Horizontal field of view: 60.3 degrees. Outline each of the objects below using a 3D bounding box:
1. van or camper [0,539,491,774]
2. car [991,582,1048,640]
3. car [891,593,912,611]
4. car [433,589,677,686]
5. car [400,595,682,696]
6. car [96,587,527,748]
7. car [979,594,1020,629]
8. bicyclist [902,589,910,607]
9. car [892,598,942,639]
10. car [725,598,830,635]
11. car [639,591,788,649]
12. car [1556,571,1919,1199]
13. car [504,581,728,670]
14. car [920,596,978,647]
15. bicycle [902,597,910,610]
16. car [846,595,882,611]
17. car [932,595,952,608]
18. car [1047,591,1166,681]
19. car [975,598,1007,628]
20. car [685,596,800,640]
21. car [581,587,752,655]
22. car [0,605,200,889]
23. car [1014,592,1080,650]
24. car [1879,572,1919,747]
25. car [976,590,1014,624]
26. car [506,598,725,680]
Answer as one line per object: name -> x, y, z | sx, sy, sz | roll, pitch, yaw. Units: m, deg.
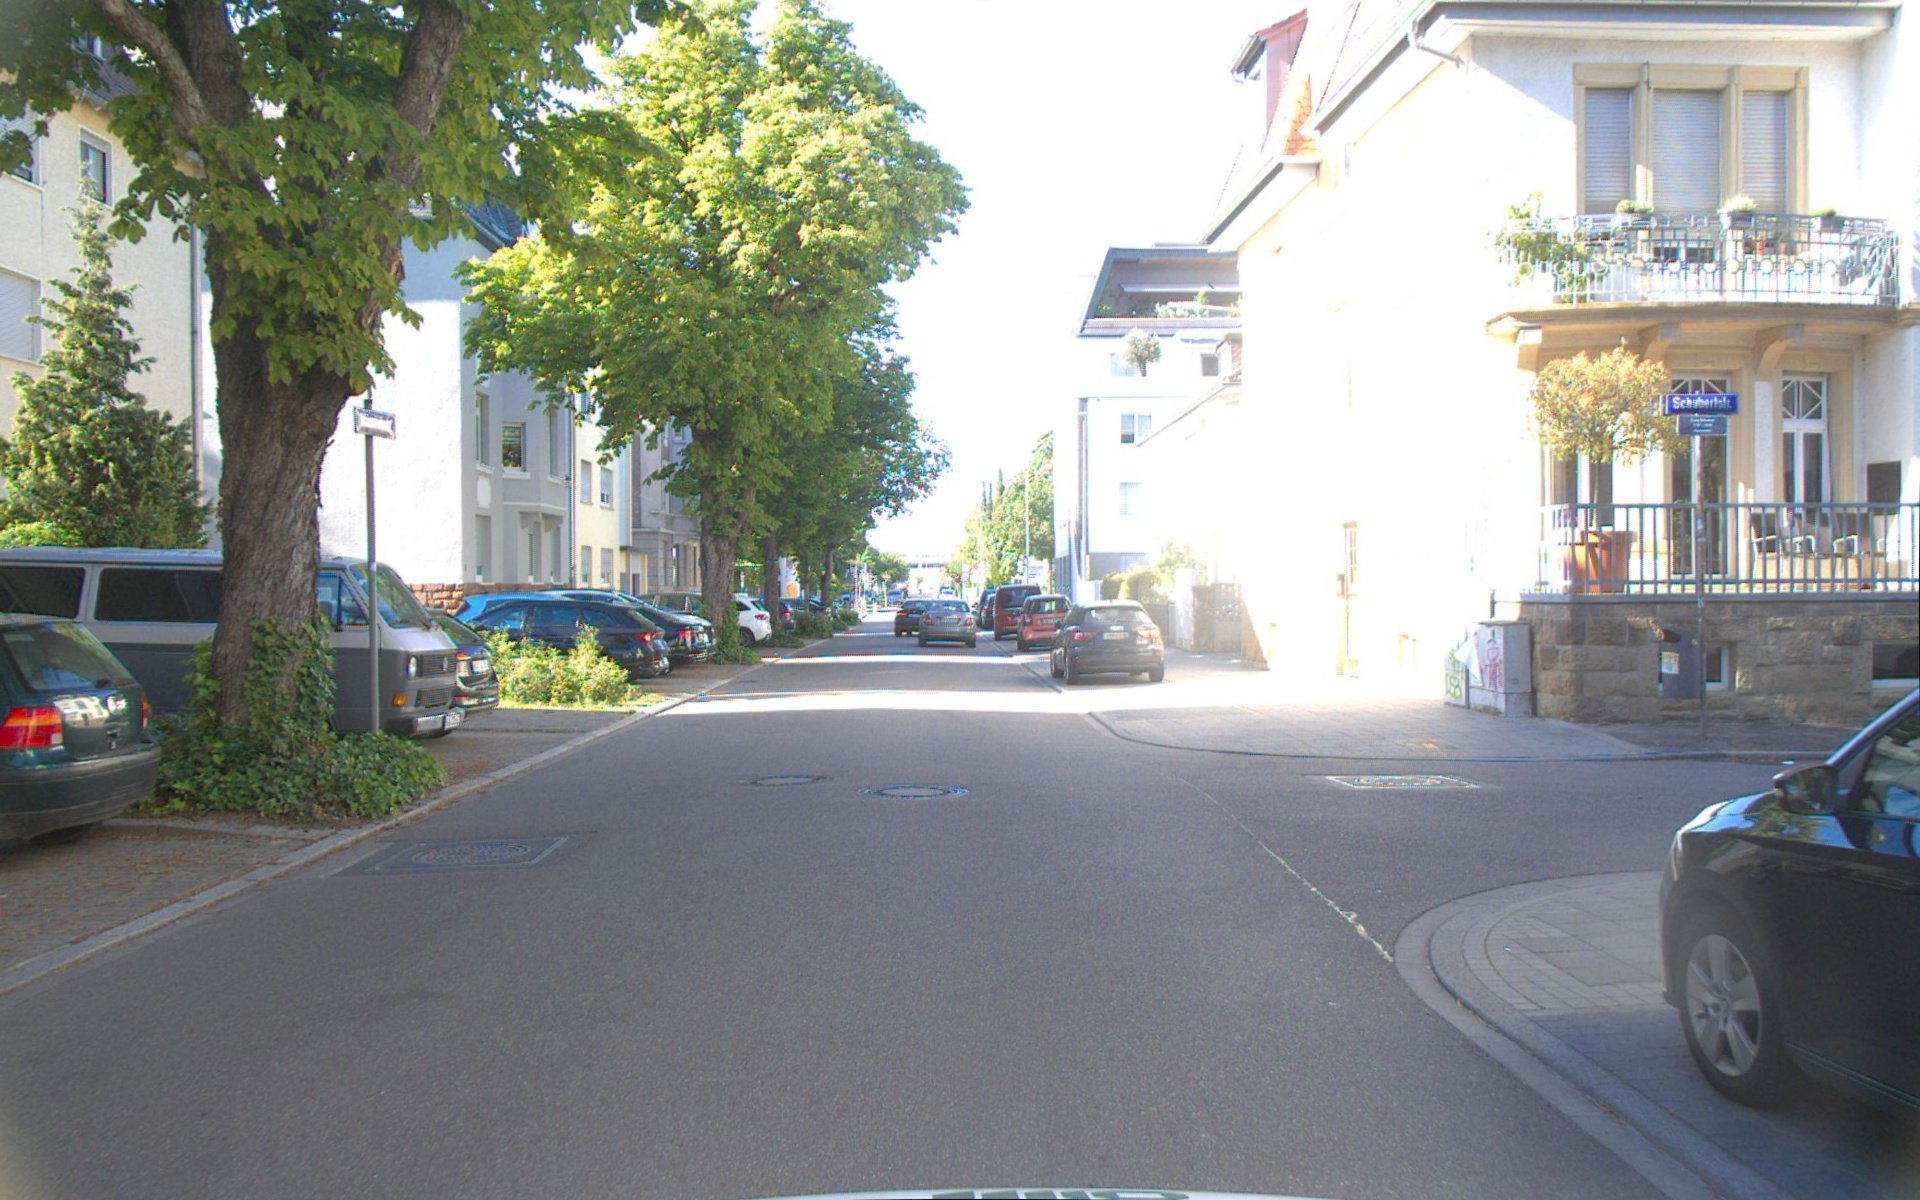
van or camper -> -6.691, 0.473, 14.831 | 4.406, 1.948, 1.963 | 0, 0, -1
car -> 2.096, 0.389, 59.269 | 1.833, 1.938, 5.197 | -1, -1, 0
car -> -5.954, 0.190, 168.288 | 1.836, 1.758, 3.995 | -1, 0, -6
car -> -7.130, 0.648, 29.454 | 3.907, 1.620, 1.877 | -1, 0, -3
car -> -6.703, 0.709, 26.788 | 4.103, 1.525, 1.860 | -1, 0, -3
car -> -6.755, 0.672, 17.486 | 3.864, 1.524, 1.662 | 1, 1, 1
car -> 1.795, 0.494, 75.762 | 1.701, 1.558, 4.177 | 0, 0, -1
bicyclist -> -4.692, -0.142, 143.505 | 0.706, 1.564, 1.137 | 0, 0, -1
car -> -1.640, 0.733, 63.721 | 1.671, 1.473, 4.203 | 2, -1, 1
car -> -7.918, 0.725, 72.093 | 4.384, 1.505, 1.867 | 1, -1, -3
car -> -6.976, 0.550, 47.076 | 3.941, 1.510, 1.806 | 2, 0, -2
car -> 3.150, 0.680, 4.102 | 1.629, 1.547, 3.998 | -2, -1, -4
car -> -7.206, 0.523, 34.937 | 4.296, 1.681, 1.823 | -2, 1, 0
car -> -0.329, 0.668, 50.703 | 1.691, 1.445, 3.960 | 2, -1, 0
bicycle -> -4.688, 0.323, 143.519 | 0.705, 1.098, 1.890 | 0, 0, -1
car -> -9.476, 0.283, 162.740 | 3.428, 1.560, 1.642 | -1, 0, -8
car -> -1.880, 0.135, 170.788 | 1.689, 1.353, 3.995 | 0, 0, -5
car -> 2.597, 0.602, 30.111 | 1.587, 1.465, 3.933 | -3, 0, -3
car -> 1.599, 0.703, 86.046 | 1.532, 1.435, 3.729 | -4, -1, 0
car -> -7.769, 0.628, 59.418 | 3.907, 1.446, 1.770 | 1, 1, -2
car -> -7.391, 0.524, 41.963 | 3.904, 1.603, 1.981 | 1, 0, 2
car -> -6.661, 0.744, 9.407 | 3.844, 1.439, 1.714 | 1, 0, -3
car -> 2.404, 0.575, 46.512 | 1.560, 1.506, 3.246 | -2, 0, -1
car -> 10.852, 0.531, 15.134 | 3.908, 1.619, 1.789 | 0, -2, -4
car -> 1.697, 0.360, 81.612 | 1.648, 1.460, 4.264 | -4, -1, -1
car -> -6.613, 0.737, 32.049 | 3.906, 1.494, 1.696 | -1, 0, -2
